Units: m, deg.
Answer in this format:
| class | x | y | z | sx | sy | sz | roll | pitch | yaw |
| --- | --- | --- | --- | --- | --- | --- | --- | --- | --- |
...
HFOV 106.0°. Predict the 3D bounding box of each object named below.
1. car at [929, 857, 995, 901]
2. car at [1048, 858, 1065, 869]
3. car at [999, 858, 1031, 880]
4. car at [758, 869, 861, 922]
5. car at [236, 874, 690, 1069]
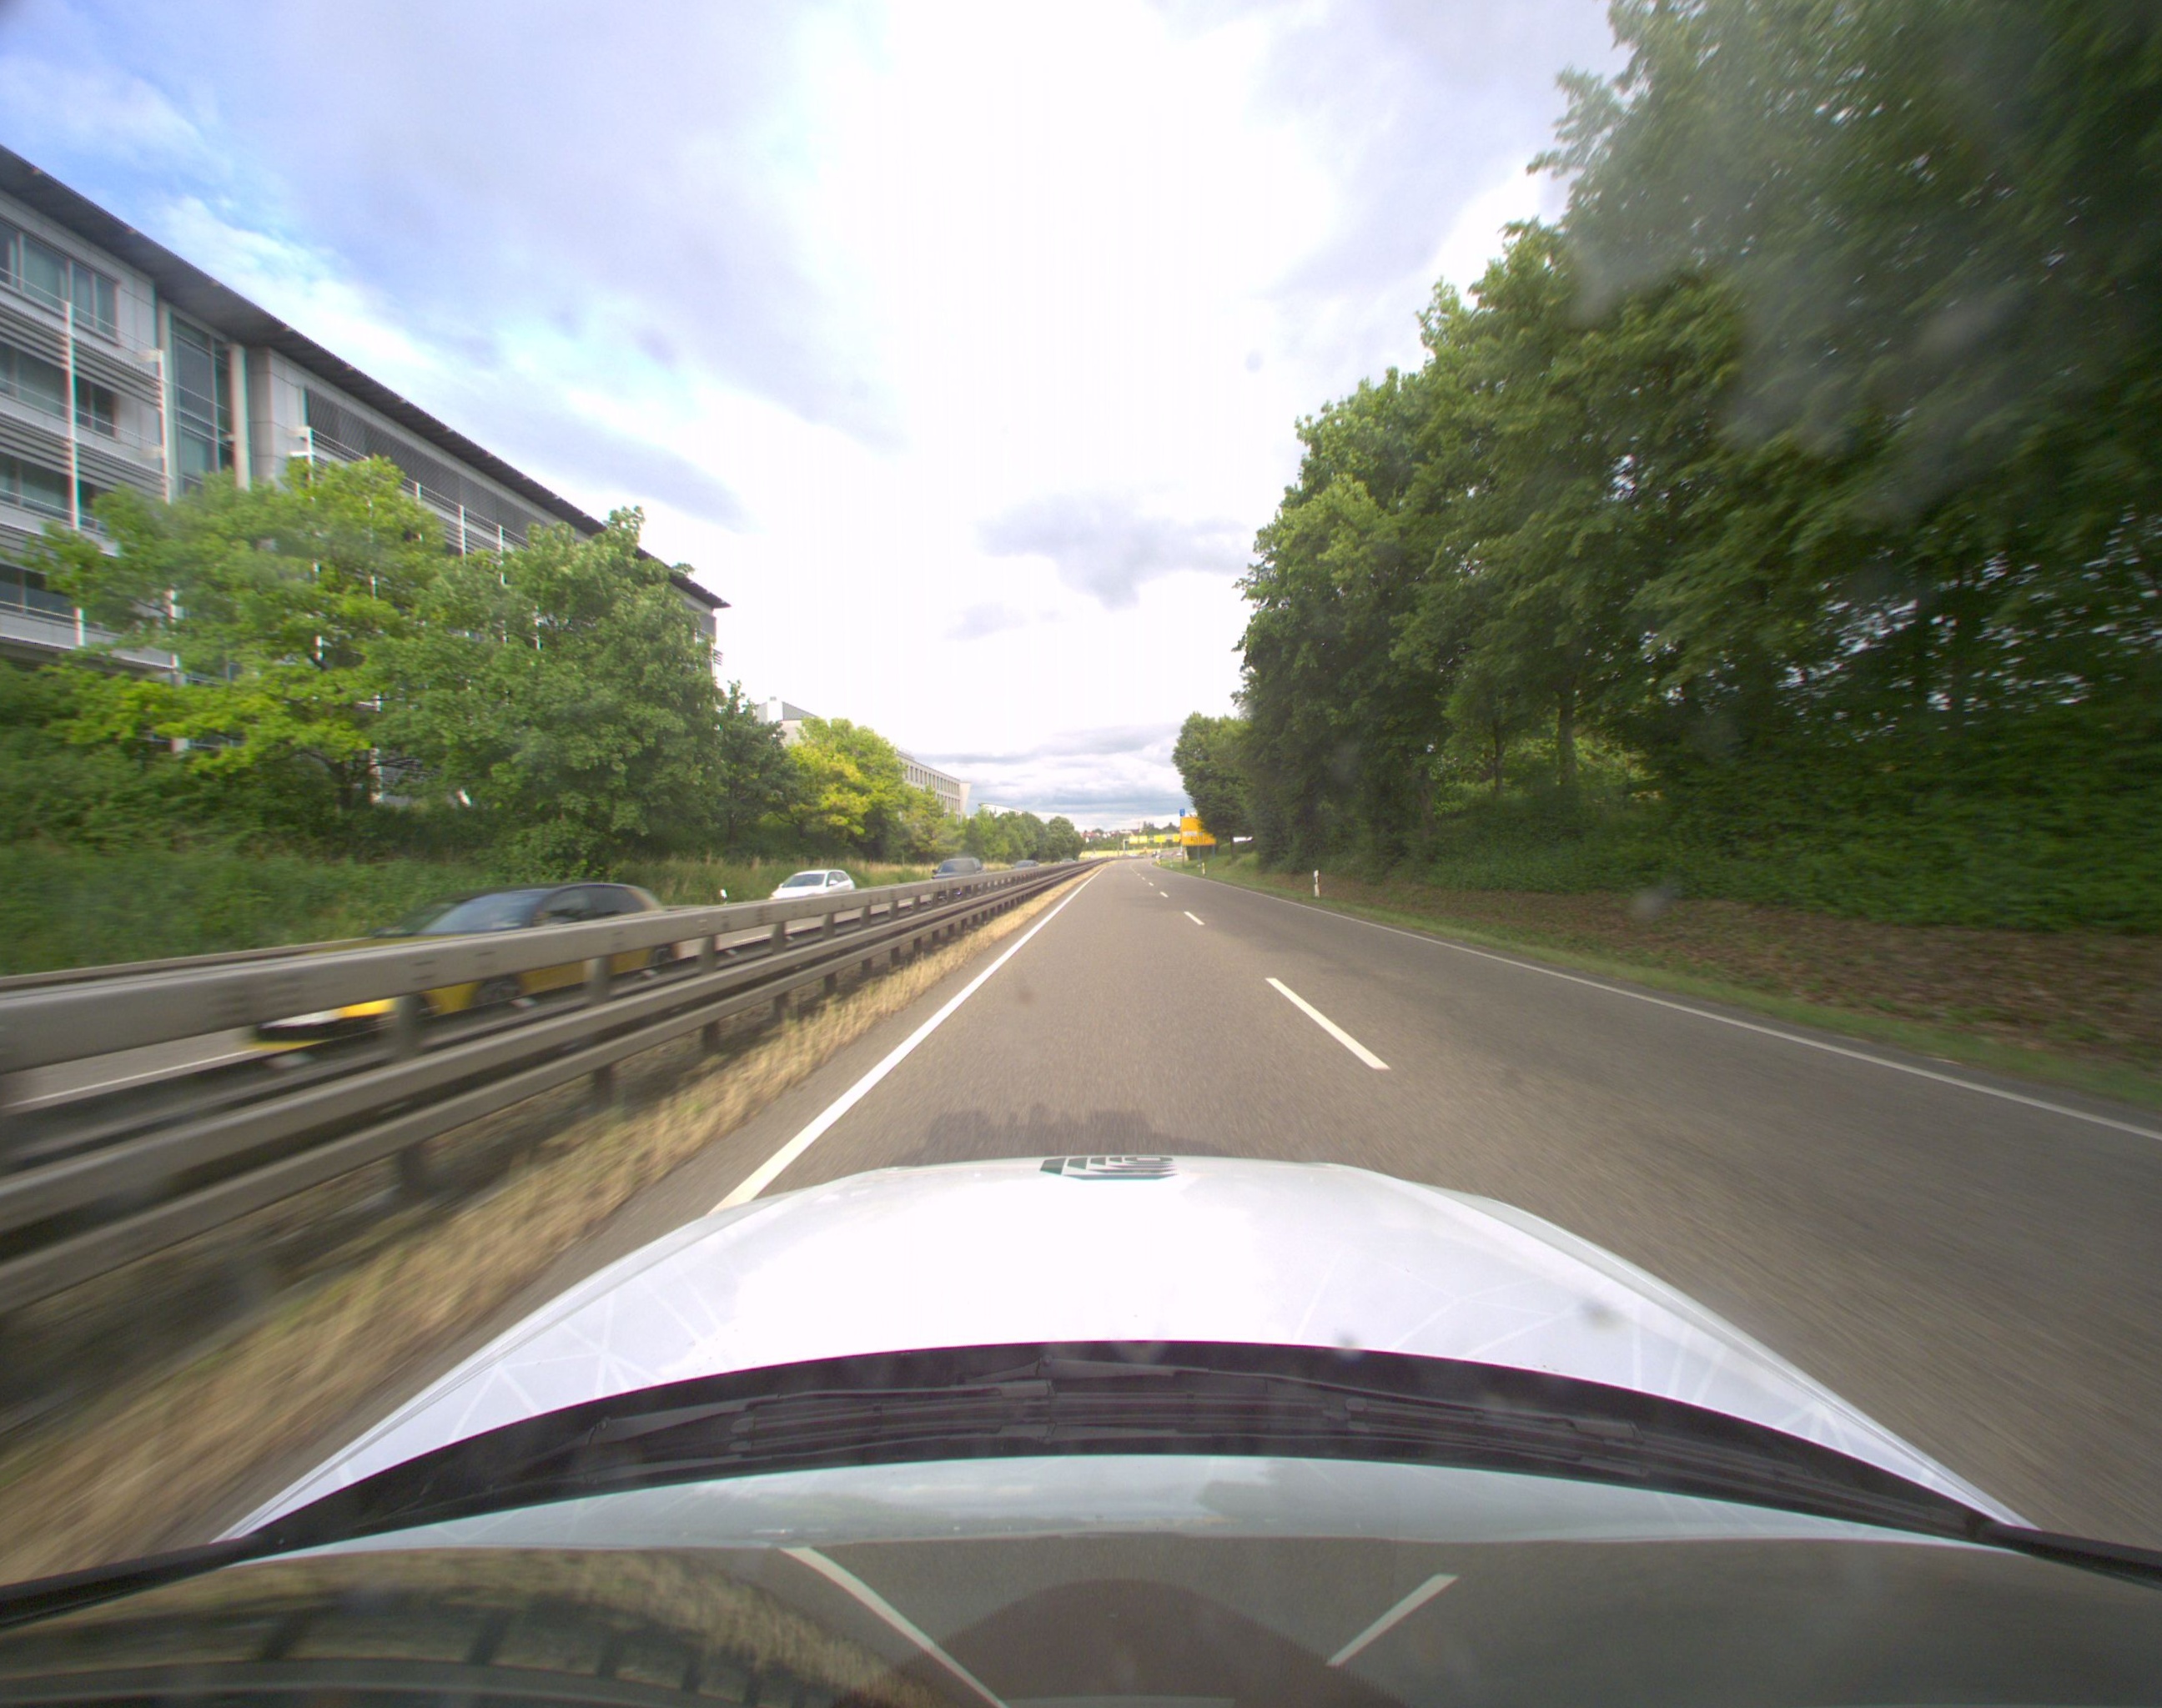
| class | x | y | z | sx | sy | sz | roll | pitch | yaw |
| --- | --- | --- | --- | --- | --- | --- | --- | --- | --- |
| car | -4.945 | 0.999 | 34.424 | 1.736 | 1.645 | 5.282 | -2 | 0 | 2 |
| car | -3.146 | 1.221 | 105.764 | 1.828 | 1.379 | 4.568 | -2 | 0 | 2 |
| car | -4.734 | 1.070 | 59.115 | 1.736 | 1.458 | 4.313 | -4 | -1 | 2 |
| car | -9.075 | 1.331 | 27.631 | 1.810 | 1.485 | 4.419 | -3 | 0 | 2 |
| car | -5.968 | 0.998 | 8.589 | 1.585 | 1.447 | 4.002 | -2 | -1 | 2 |
